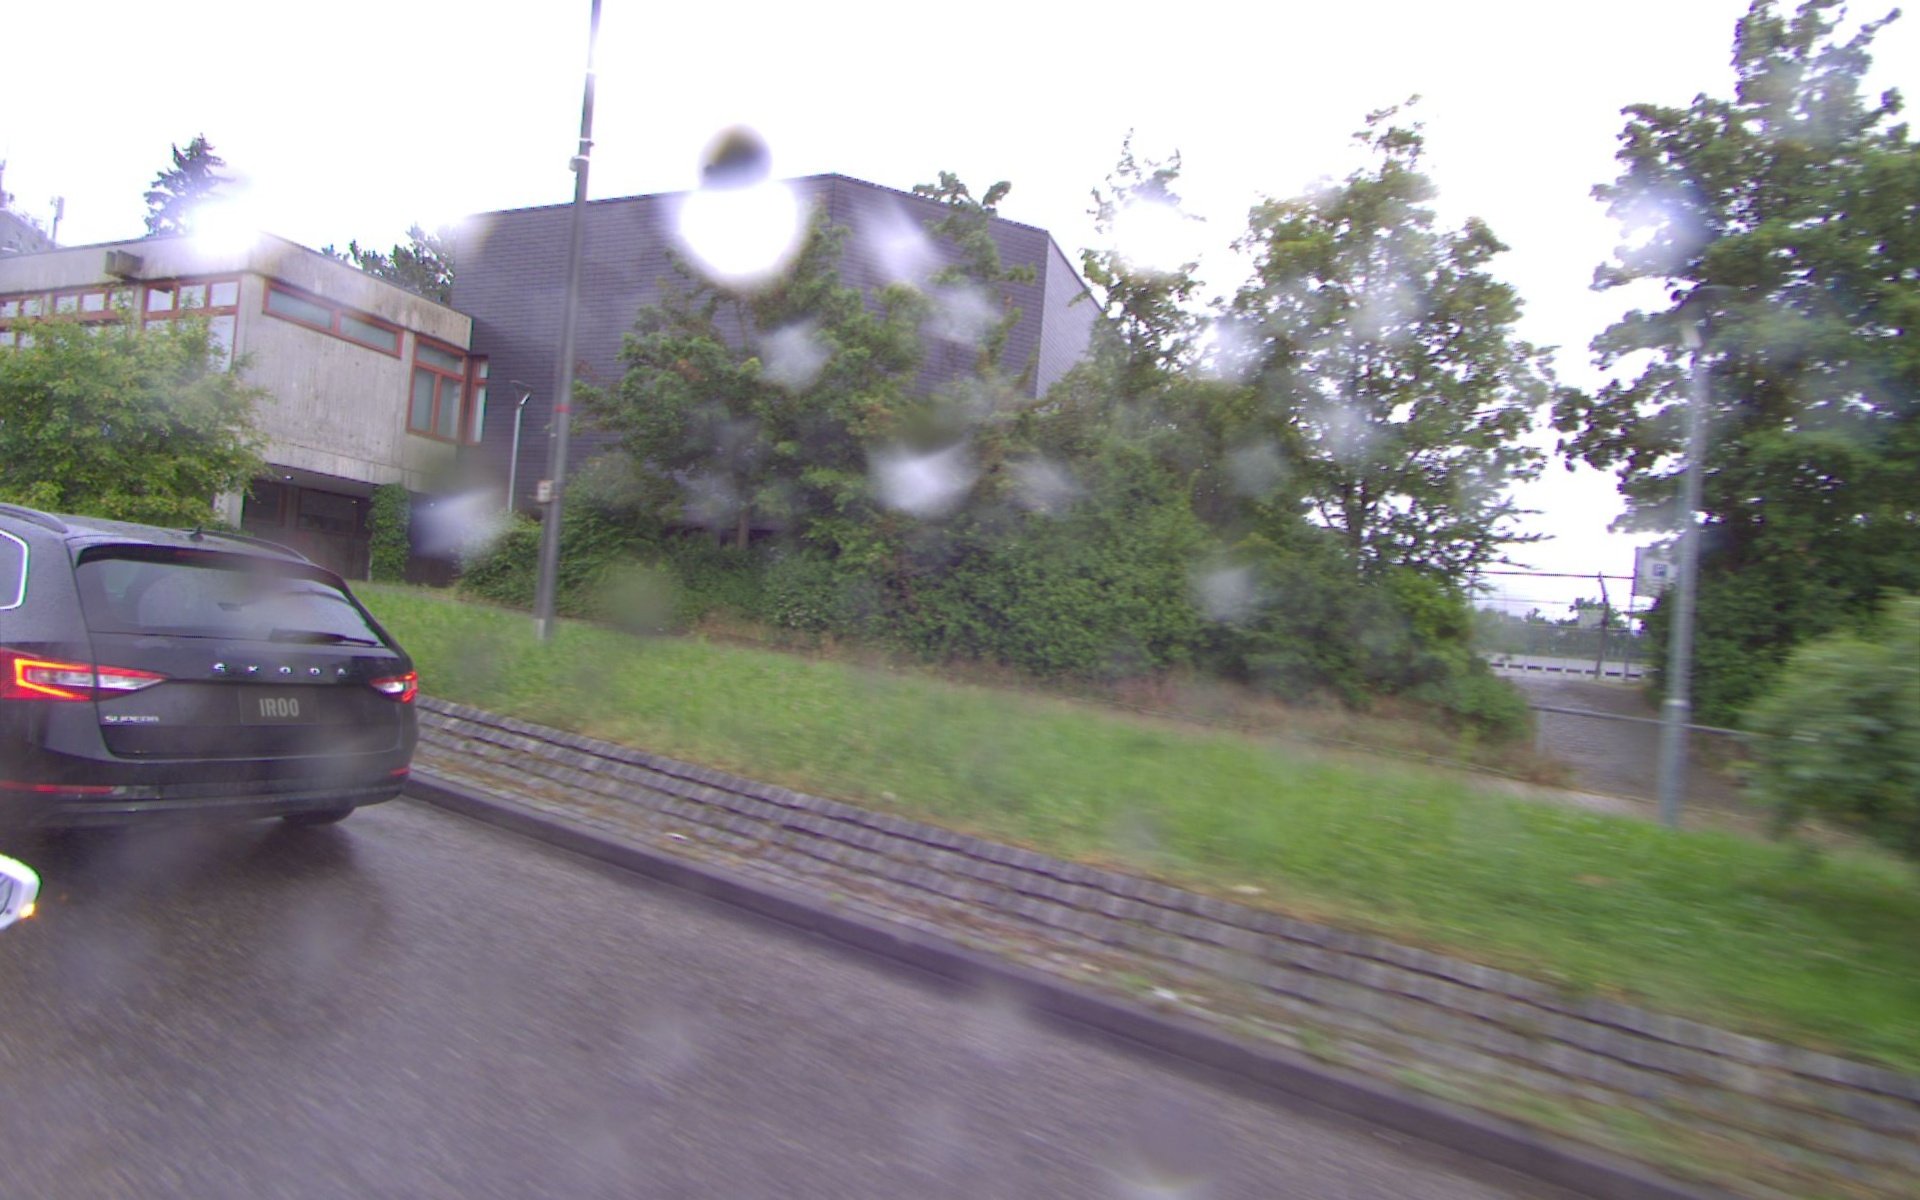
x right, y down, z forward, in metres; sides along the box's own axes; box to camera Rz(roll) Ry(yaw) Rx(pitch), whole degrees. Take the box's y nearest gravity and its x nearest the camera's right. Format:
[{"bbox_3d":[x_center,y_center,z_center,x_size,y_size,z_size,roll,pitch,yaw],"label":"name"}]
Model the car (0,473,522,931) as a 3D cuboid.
[{"bbox_3d":[-4.718,0.260,5.250,4.529,1.523,1.961,6,-4,29],"label":"car"}]
